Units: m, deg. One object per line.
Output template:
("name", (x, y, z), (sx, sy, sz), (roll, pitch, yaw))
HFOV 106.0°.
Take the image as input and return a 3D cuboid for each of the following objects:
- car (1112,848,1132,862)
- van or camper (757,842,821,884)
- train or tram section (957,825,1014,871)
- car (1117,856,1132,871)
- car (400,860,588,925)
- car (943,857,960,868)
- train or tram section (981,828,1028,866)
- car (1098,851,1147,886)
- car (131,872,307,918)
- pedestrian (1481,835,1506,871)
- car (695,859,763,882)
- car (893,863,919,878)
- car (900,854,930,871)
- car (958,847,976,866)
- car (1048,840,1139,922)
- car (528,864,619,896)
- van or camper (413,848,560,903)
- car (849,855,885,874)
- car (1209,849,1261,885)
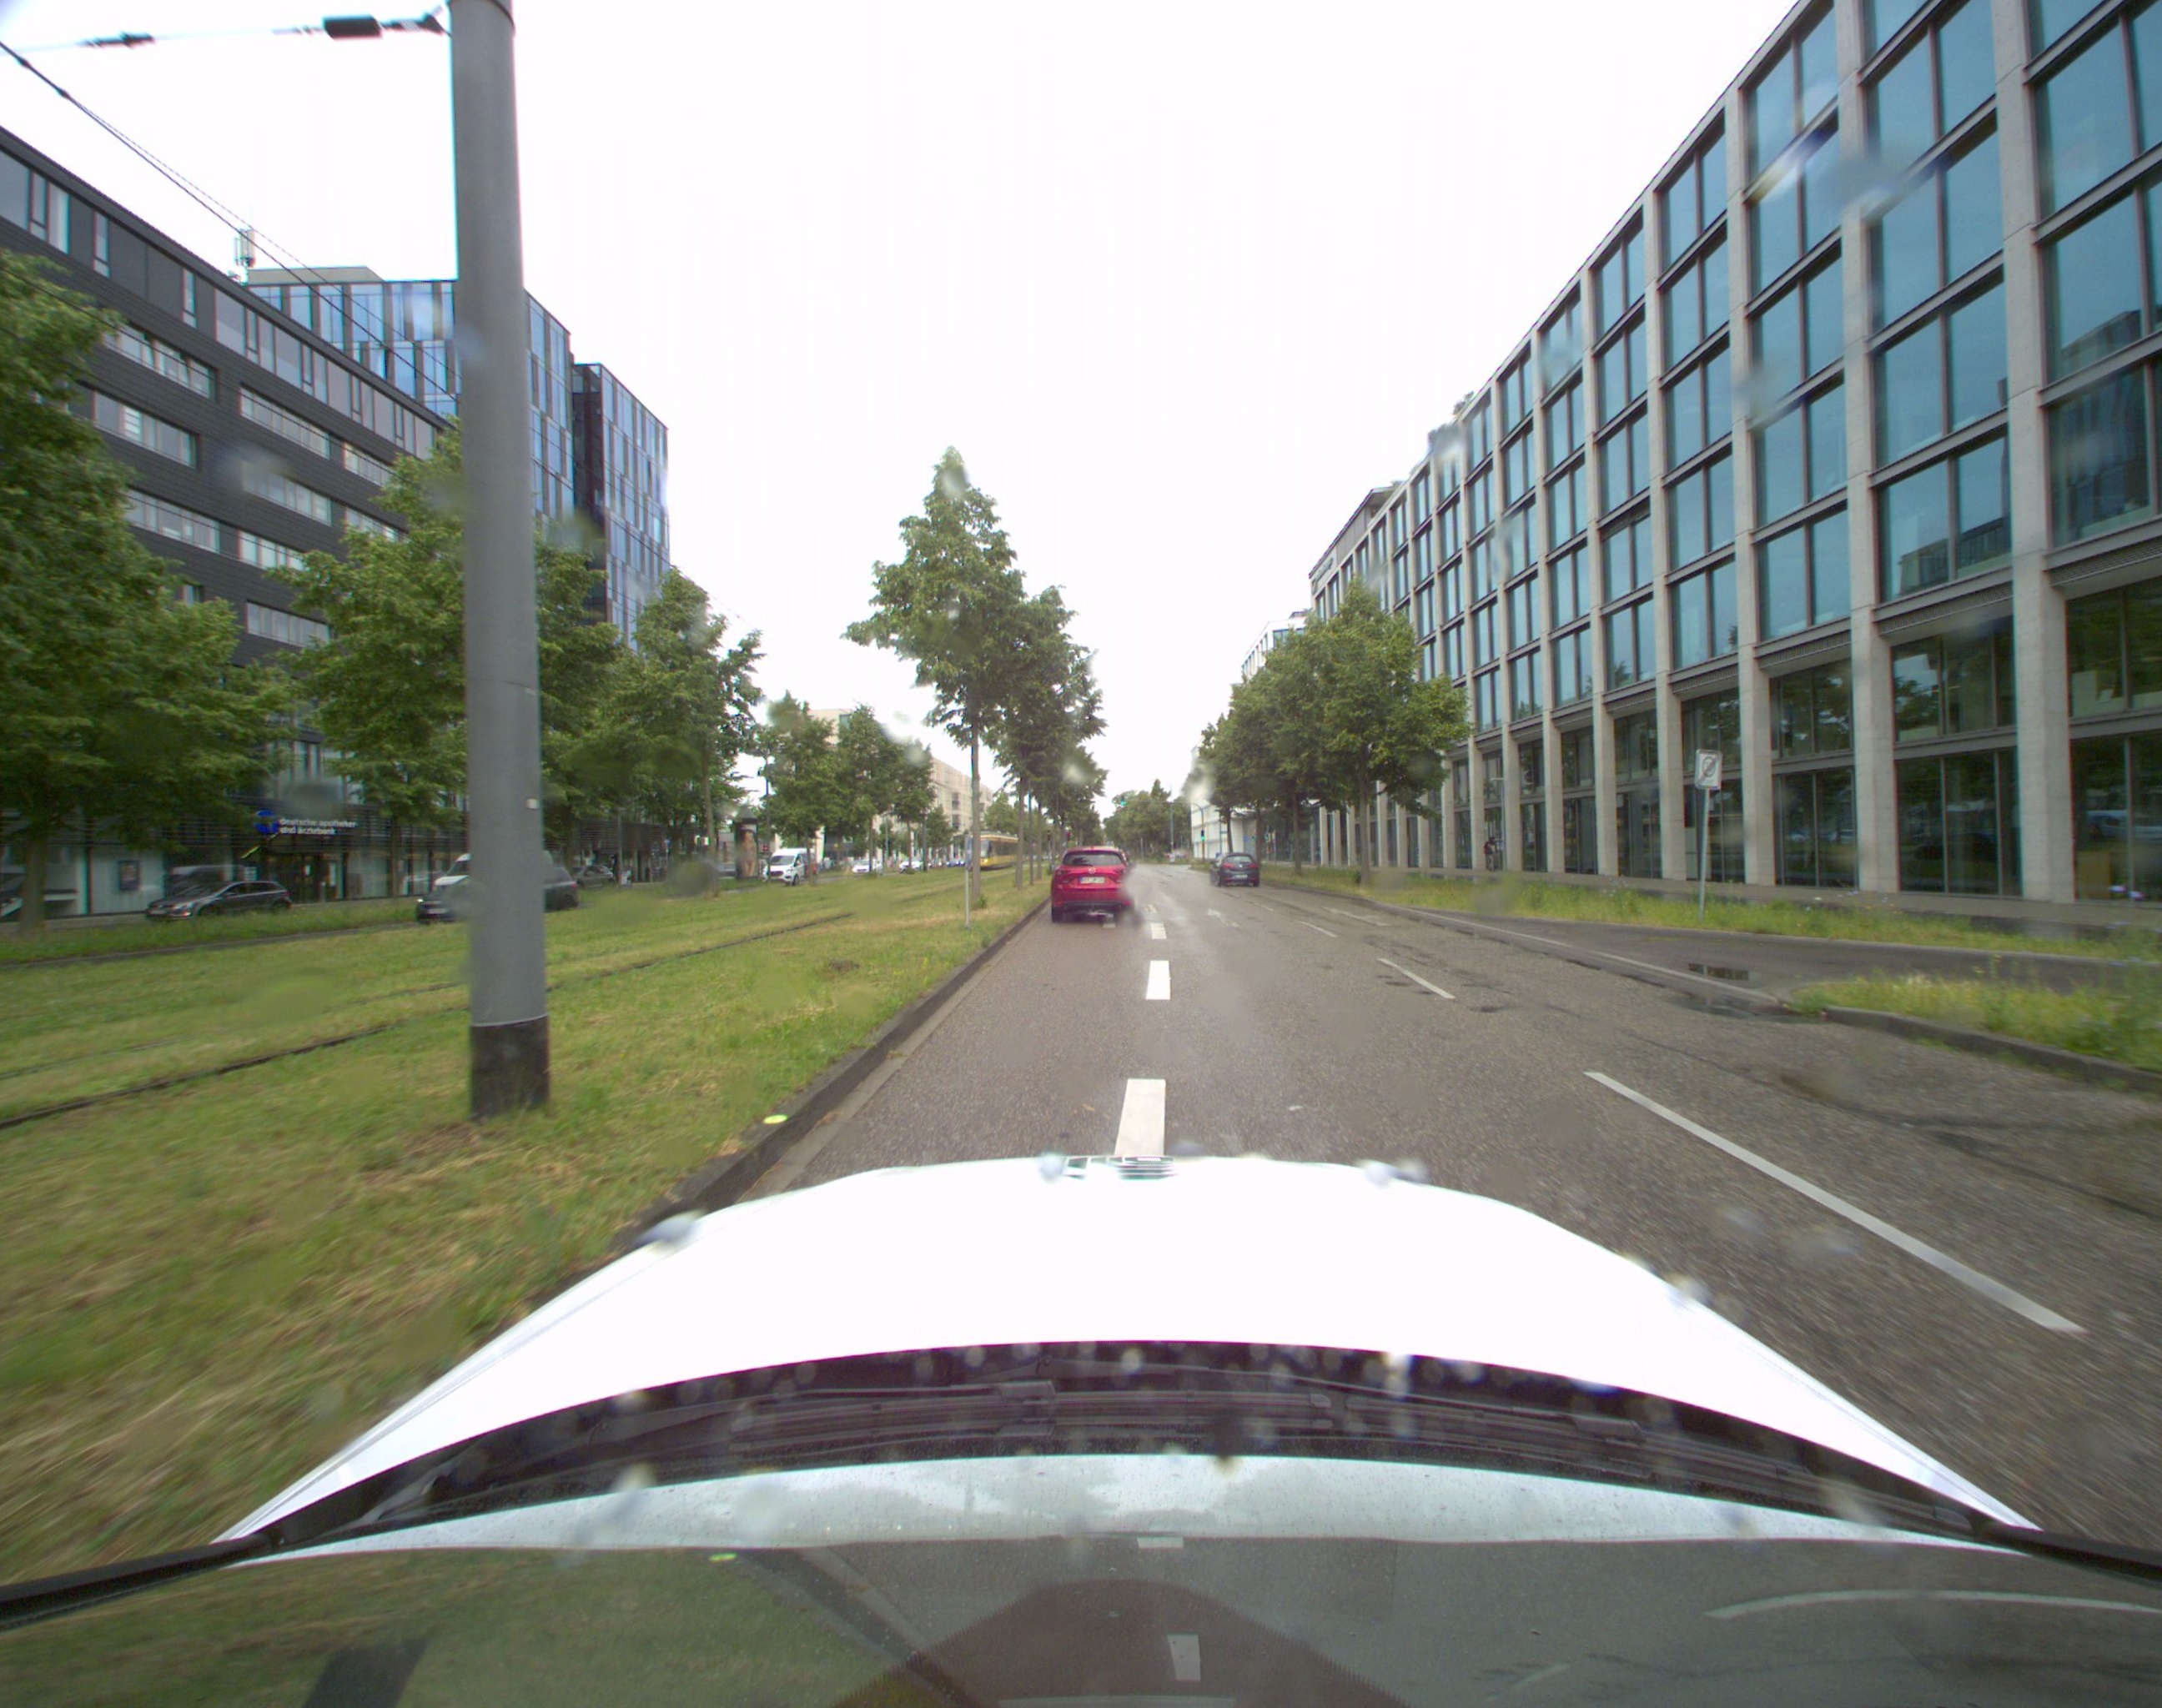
("car", (4.483, 0.067, 88.263), (1.958, 1.437, 4.560), (0, 0, 6))
("van or camper", (-18.363, 0.527, 51.537), (1.902, 2.410, 5.404), (-2, 0, 2))
("train or tram section", (-8.311, -0.553, 72.613), (3.117, 3.658, 13.410), (-1, 0, 1))
("car", (6.211, 1.314, 116.996), (1.986, 2.013, 4.001), (-1, 0, 1))
("car", (-16.215, 0.993, 22.844), (1.856, 1.524, 4.481), (-2, 0, 2))
("car", (-20.001, 1.290, 126.160), (1.987, 1.618, 3.999), (-1, 0, 0))
("train or tram section", (-7.958, -0.728, 86.863), (3.117, 3.658, 15.069), (-1, 0, 1))
("car", (1.925, 0.601, 36.751), (1.949, 1.465, 3.788), (-1, 0, 6))
("car", (-30.902, 1.426, 29.402), (1.810, 1.378, 4.184), (-1, 0, 1))
("pedestrian", (20.218, -0.048, 39.896), (0.714, 1.714, 0.861), (-3, 0, 0))
("car", (-26.919, 1.241, 62.329), (4.691, 1.521, 1.983), (-1, 0, -27))
("car", (-18.767, 1.754, 87.498), (1.878, 1.459, 4.001), (0, 0, 1))
("car", (-14.752, 0.754, 72.444), (1.704, 1.404, 4.001), (-1, 0, 1))
("car", (-16.569, 0.331, 118.580), (2.250, 2.561, 4.650), (-1, 0, -3))
("car", (0.297, 0.563, 19.047), (1.891, 1.677, 4.001), (-1, 0, 1))
("car", (-27.302, 1.346, 44.053), (1.987, 1.521, 4.606), (-1, 0, 0))
("van or camper", (-27.526, 0.902, 38.076), (2.424, 2.315, 5.852), (-1, 0, 1))
("car", (-18.114, 0.851, 69.179), (1.878, 1.459, 4.001), (-1, 0, 1))
("car", (6.694, 0.547, 35.724), (1.736, 1.465, 3.785), (-1, 0, 3))
